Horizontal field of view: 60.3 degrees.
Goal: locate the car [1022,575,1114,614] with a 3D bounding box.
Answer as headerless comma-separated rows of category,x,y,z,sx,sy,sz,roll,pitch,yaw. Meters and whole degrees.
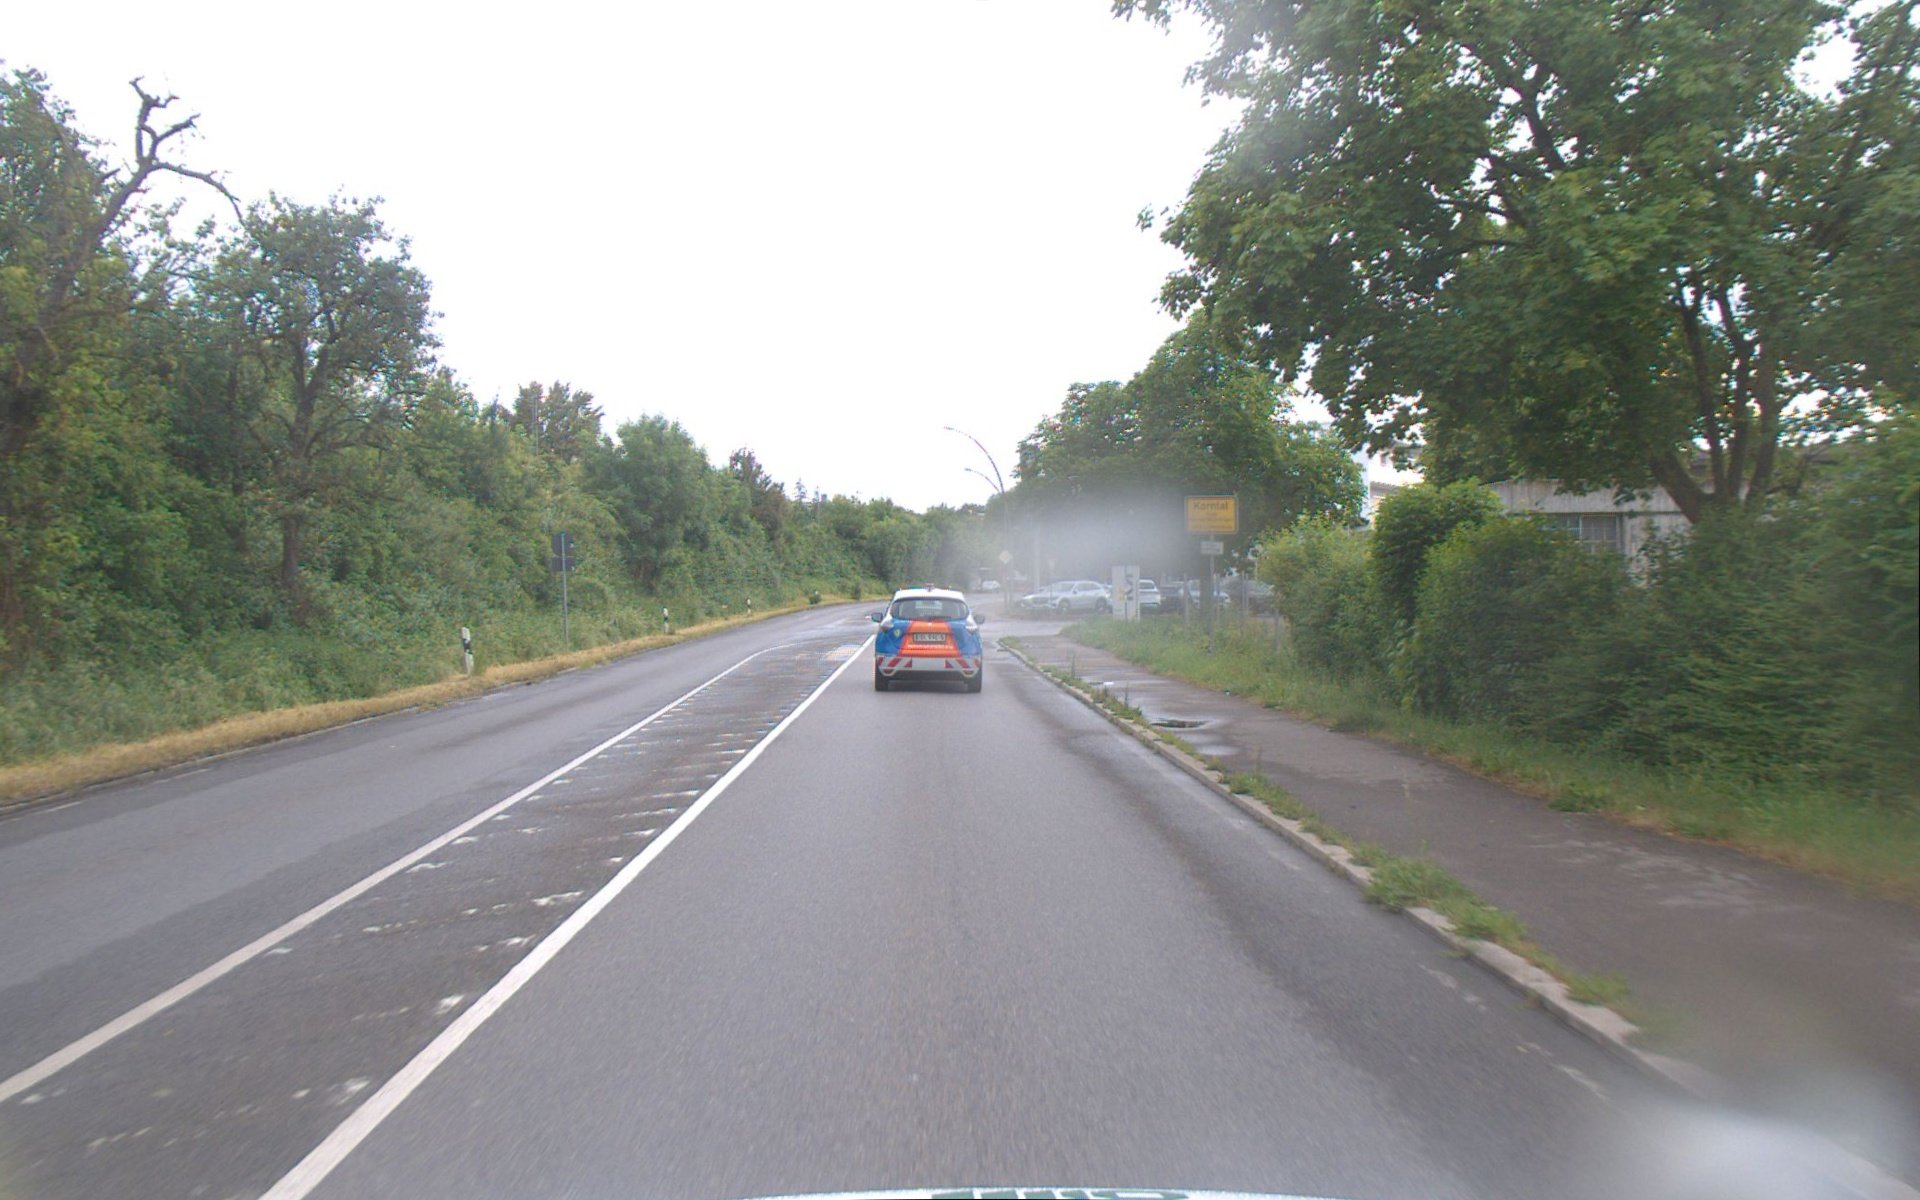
car,5.283,-0.250,80.557,2.001,1.782,4.587,1,-1,44

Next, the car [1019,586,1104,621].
car,5.445,0.201,88.181,4.572,1.782,1.782,1,-2,-39

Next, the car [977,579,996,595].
car,3.124,-1.517,194.341,1.658,1.822,3.859,1,0,11

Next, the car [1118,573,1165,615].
car,8.470,-0.247,77.409,1.788,1.861,4.264,1,0,1

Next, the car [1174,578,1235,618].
car,11.521,-0.090,78.188,1.898,1.782,4.615,1,0,-4

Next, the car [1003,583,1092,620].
car,4.459,0.106,83.615,2.000,1.782,4.587,-2,-2,44

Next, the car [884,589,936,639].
car,-1.667,0.462,56.358,1.659,1.623,3.855,1,0,-1

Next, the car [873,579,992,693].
car,-0.462,0.554,26.968,1.769,1.697,3.854,1,0,-2

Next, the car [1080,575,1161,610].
car,8.337,-0.405,85.693,1.896,1.781,4.593,1,1,41
